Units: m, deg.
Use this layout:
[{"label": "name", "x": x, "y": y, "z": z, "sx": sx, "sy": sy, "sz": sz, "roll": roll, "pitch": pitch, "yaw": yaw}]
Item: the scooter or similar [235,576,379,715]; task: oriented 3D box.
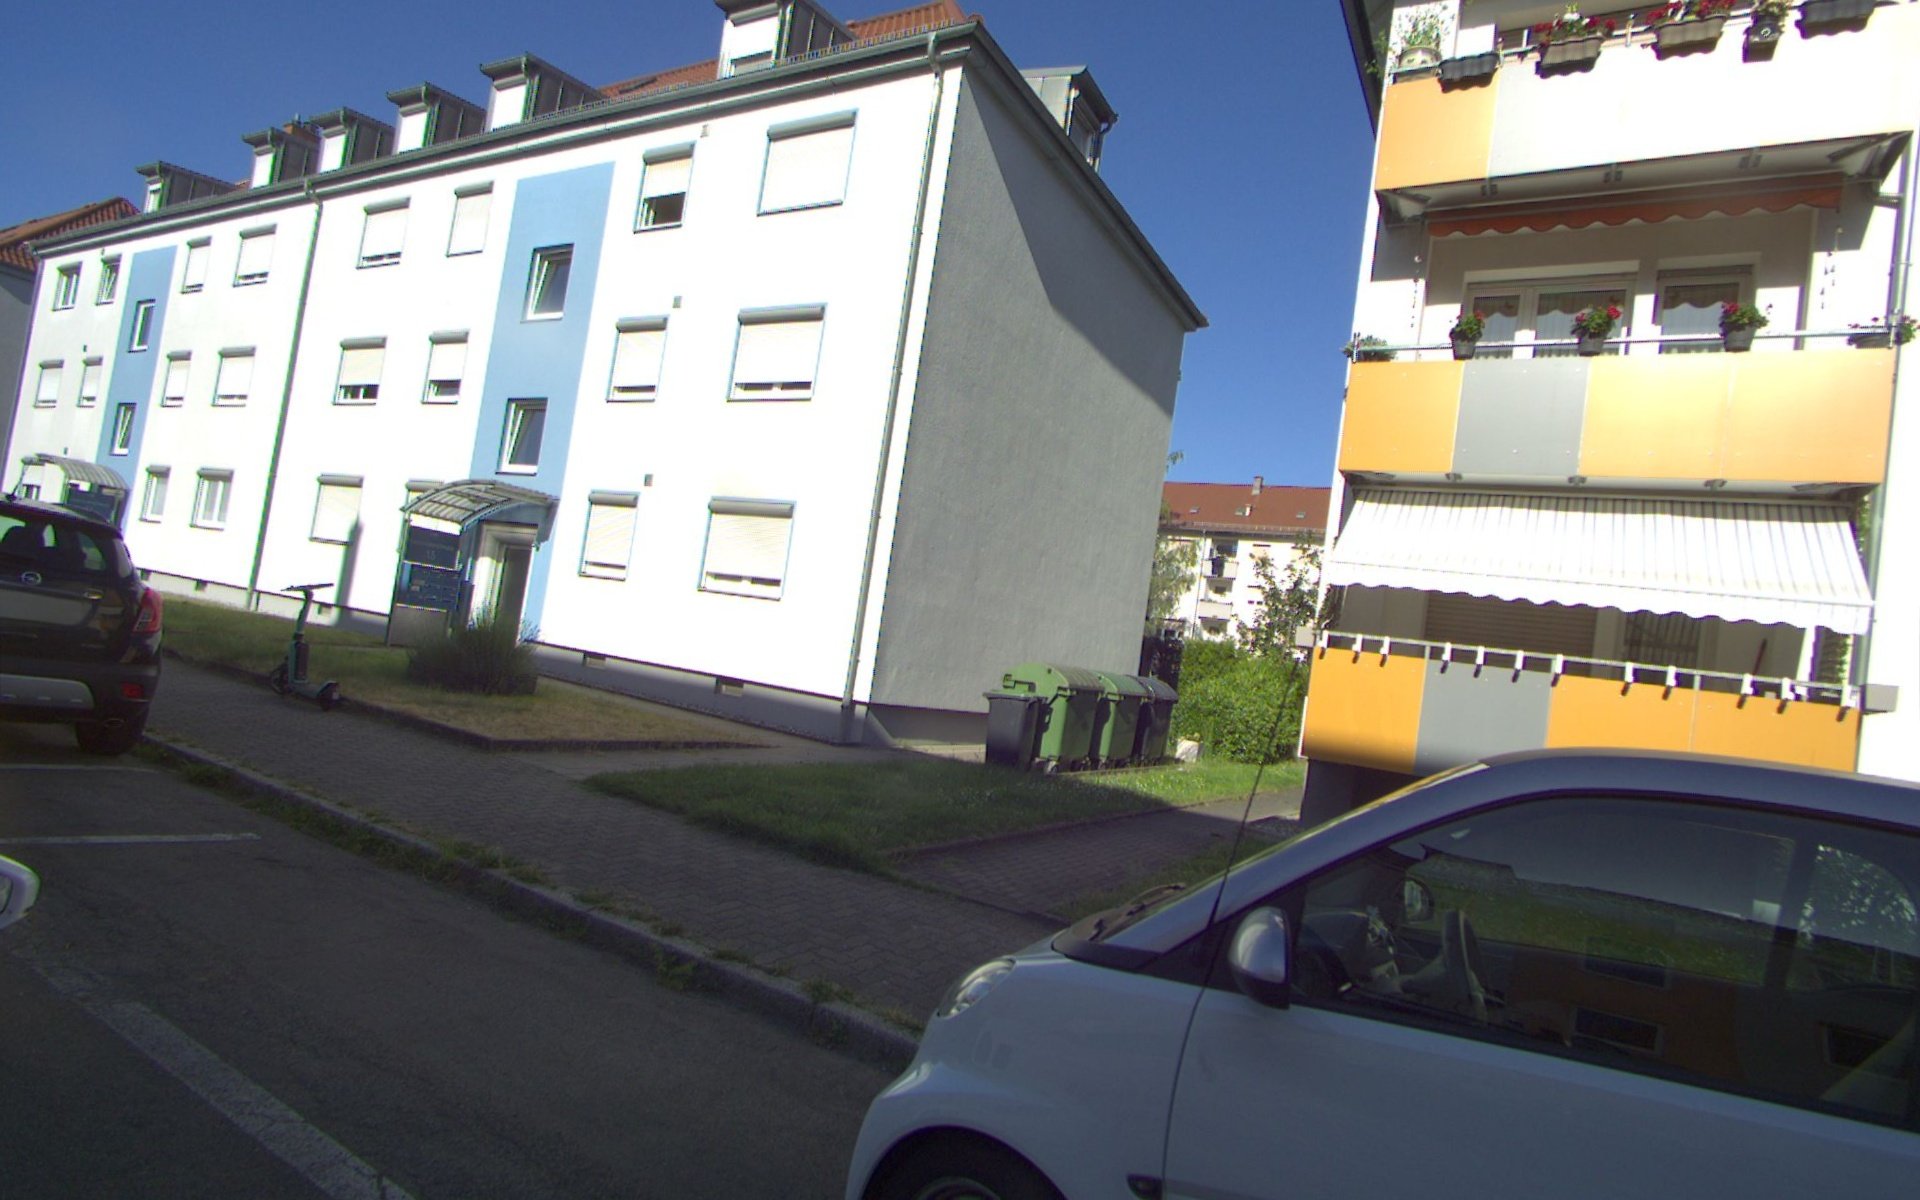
[{"label": "scooter or similar", "x": -6.489, "y": 0.435, "z": 9.976, "sx": 1.562, "sy": 1.163, "sz": 0.484, "roll": 7, "pitch": 0, "yaw": 32}]

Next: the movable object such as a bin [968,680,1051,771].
[{"label": "movable object such as a bin", "x": 0.638, "y": 1.591, "z": 12.807, "sx": 0.745, "sy": 1.046, "sz": 0.644, "roll": 4, "pitch": -3, "yaw": 31}]

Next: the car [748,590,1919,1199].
[{"label": "car", "x": 1.207, "y": 0.993, "z": 2.049, "sx": 2.894, "sy": 1.544, "sz": 1.484, "roll": 6, "pitch": -6, "yaw": 35}]

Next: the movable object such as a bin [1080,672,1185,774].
[{"label": "movable object such as a bin", "x": 2.788, "y": 1.962, "z": 16.161, "sx": 1.124, "sy": 1.442, "sz": 1.346, "roll": 4, "pitch": -3, "yaw": 31}]

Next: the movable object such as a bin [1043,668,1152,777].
[{"label": "movable object such as a bin", "x": 2.059, "y": 1.805, "z": 14.919, "sx": 1.038, "sy": 1.427, "sz": 1.346, "roll": 4, "pitch": -3, "yaw": 31}]

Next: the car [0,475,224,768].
[{"label": "car", "x": -7.362, "y": -0.068, "z": 7.108, "sx": 4.395, "sy": 1.664, "sz": 1.789, "roll": 7, "pitch": -5, "yaw": 32}]

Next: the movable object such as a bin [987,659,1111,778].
[{"label": "movable object such as a bin", "x": 1.223, "y": 1.590, "z": 13.625, "sx": 1.088, "sy": 1.422, "sz": 1.331, "roll": 4, "pitch": -3, "yaw": 31}]
